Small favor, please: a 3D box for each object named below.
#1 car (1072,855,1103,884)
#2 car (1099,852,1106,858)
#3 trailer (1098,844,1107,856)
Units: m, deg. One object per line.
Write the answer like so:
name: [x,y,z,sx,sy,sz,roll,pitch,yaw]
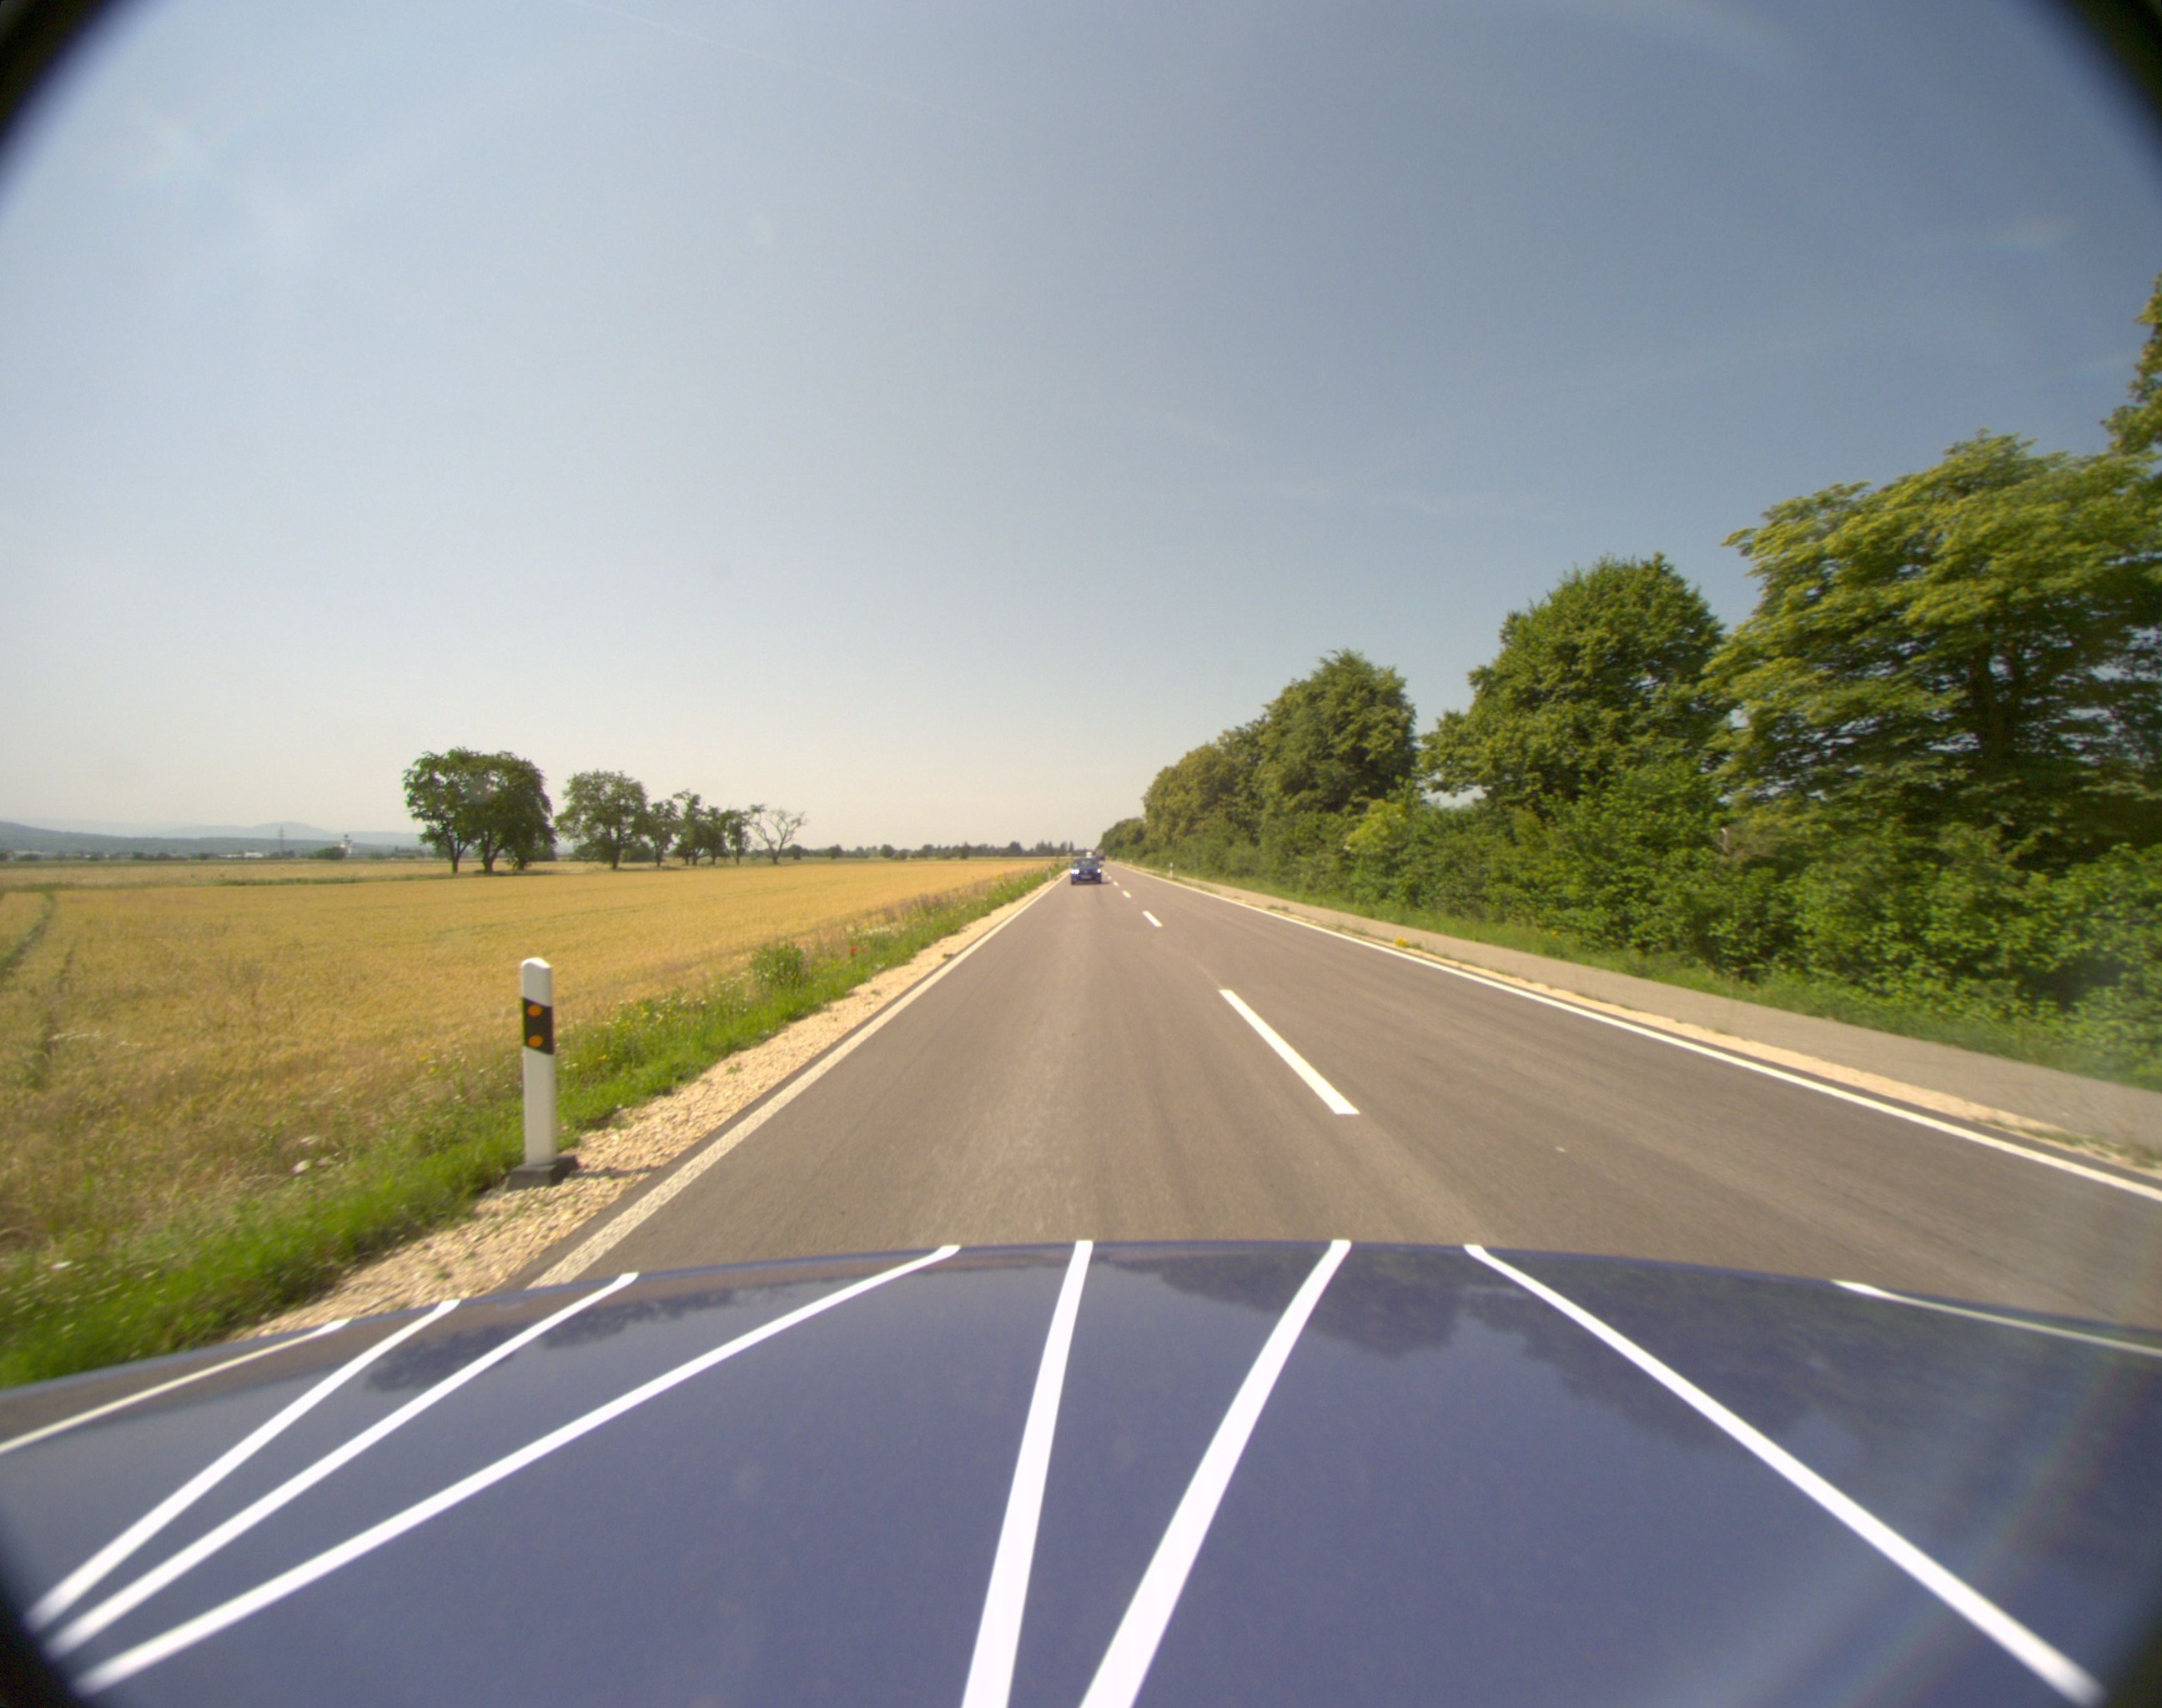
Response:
car: [0.354,0.842,43.627,1.662,1.508,4.000,-2,0,0]
car: [5.880,0.160,205.672,1.796,1.565,4.479,0,0,0]
trailer: [7.261,-1.266,256.270,2.660,3.954,13.353,0,0,1]
